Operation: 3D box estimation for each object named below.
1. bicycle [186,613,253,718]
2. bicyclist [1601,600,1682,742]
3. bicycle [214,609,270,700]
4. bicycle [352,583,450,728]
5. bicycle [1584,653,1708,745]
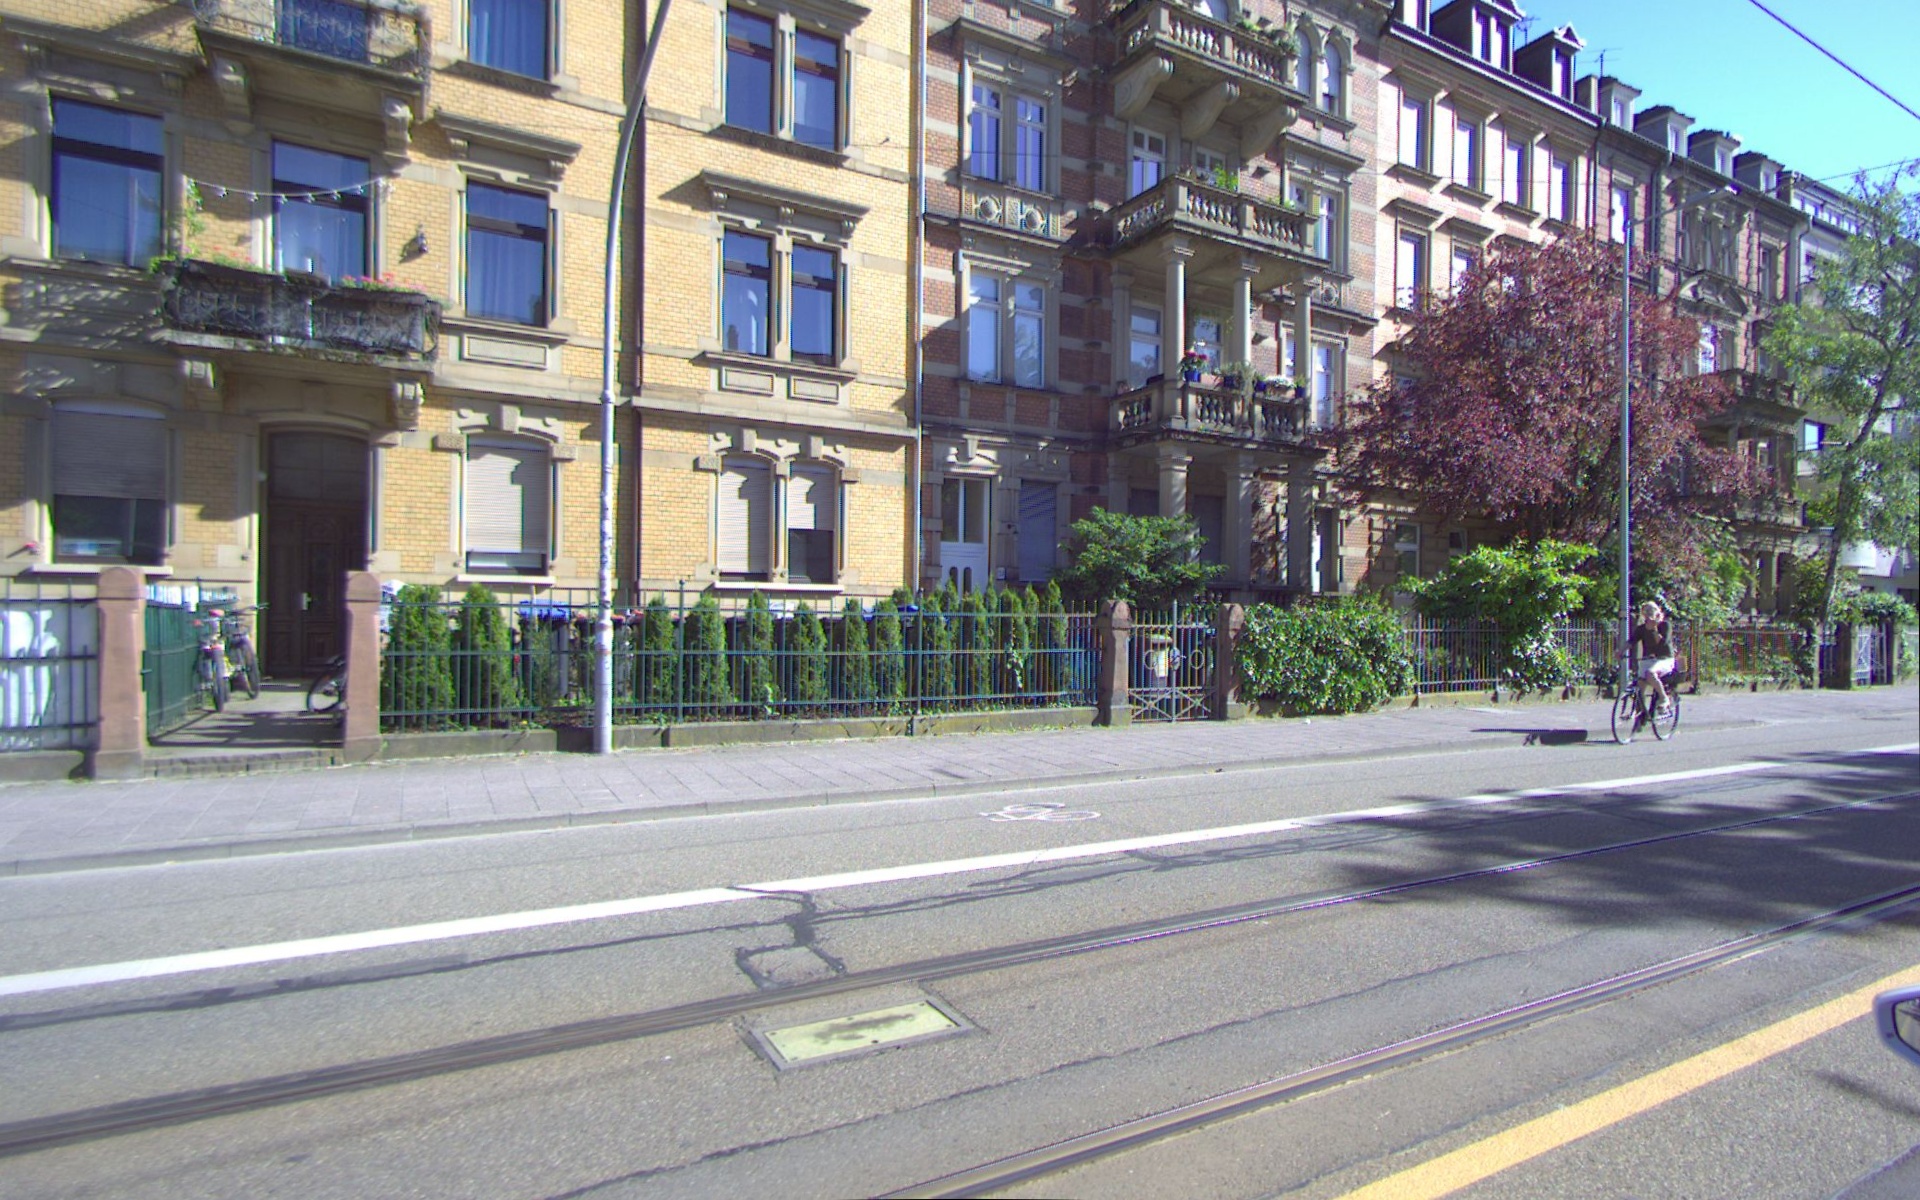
[{"bbox_3d":[-7.862,0.657,10.694,0.384,0.988,1.528,1,1,-30],"label":"bicycle"},{"bbox_3d":[9.067,0.935,13.378,0.608,1.825,0.657,2,-3,-29],"label":"bicyclist"},{"bbox_3d":[-8.615,0.626,12.082,0.384,0.988,1.528,1,1,-30],"label":"bicycle"},{"bbox_3d":[-5.736,0.509,10.264,0.608,1.338,1.748,1,1,-38],"label":"bicycle"},{"bbox_3d":[9.190,1.295,13.448,1.698,1.127,0.689,1,-2,-30],"label":"bicycle"}]
